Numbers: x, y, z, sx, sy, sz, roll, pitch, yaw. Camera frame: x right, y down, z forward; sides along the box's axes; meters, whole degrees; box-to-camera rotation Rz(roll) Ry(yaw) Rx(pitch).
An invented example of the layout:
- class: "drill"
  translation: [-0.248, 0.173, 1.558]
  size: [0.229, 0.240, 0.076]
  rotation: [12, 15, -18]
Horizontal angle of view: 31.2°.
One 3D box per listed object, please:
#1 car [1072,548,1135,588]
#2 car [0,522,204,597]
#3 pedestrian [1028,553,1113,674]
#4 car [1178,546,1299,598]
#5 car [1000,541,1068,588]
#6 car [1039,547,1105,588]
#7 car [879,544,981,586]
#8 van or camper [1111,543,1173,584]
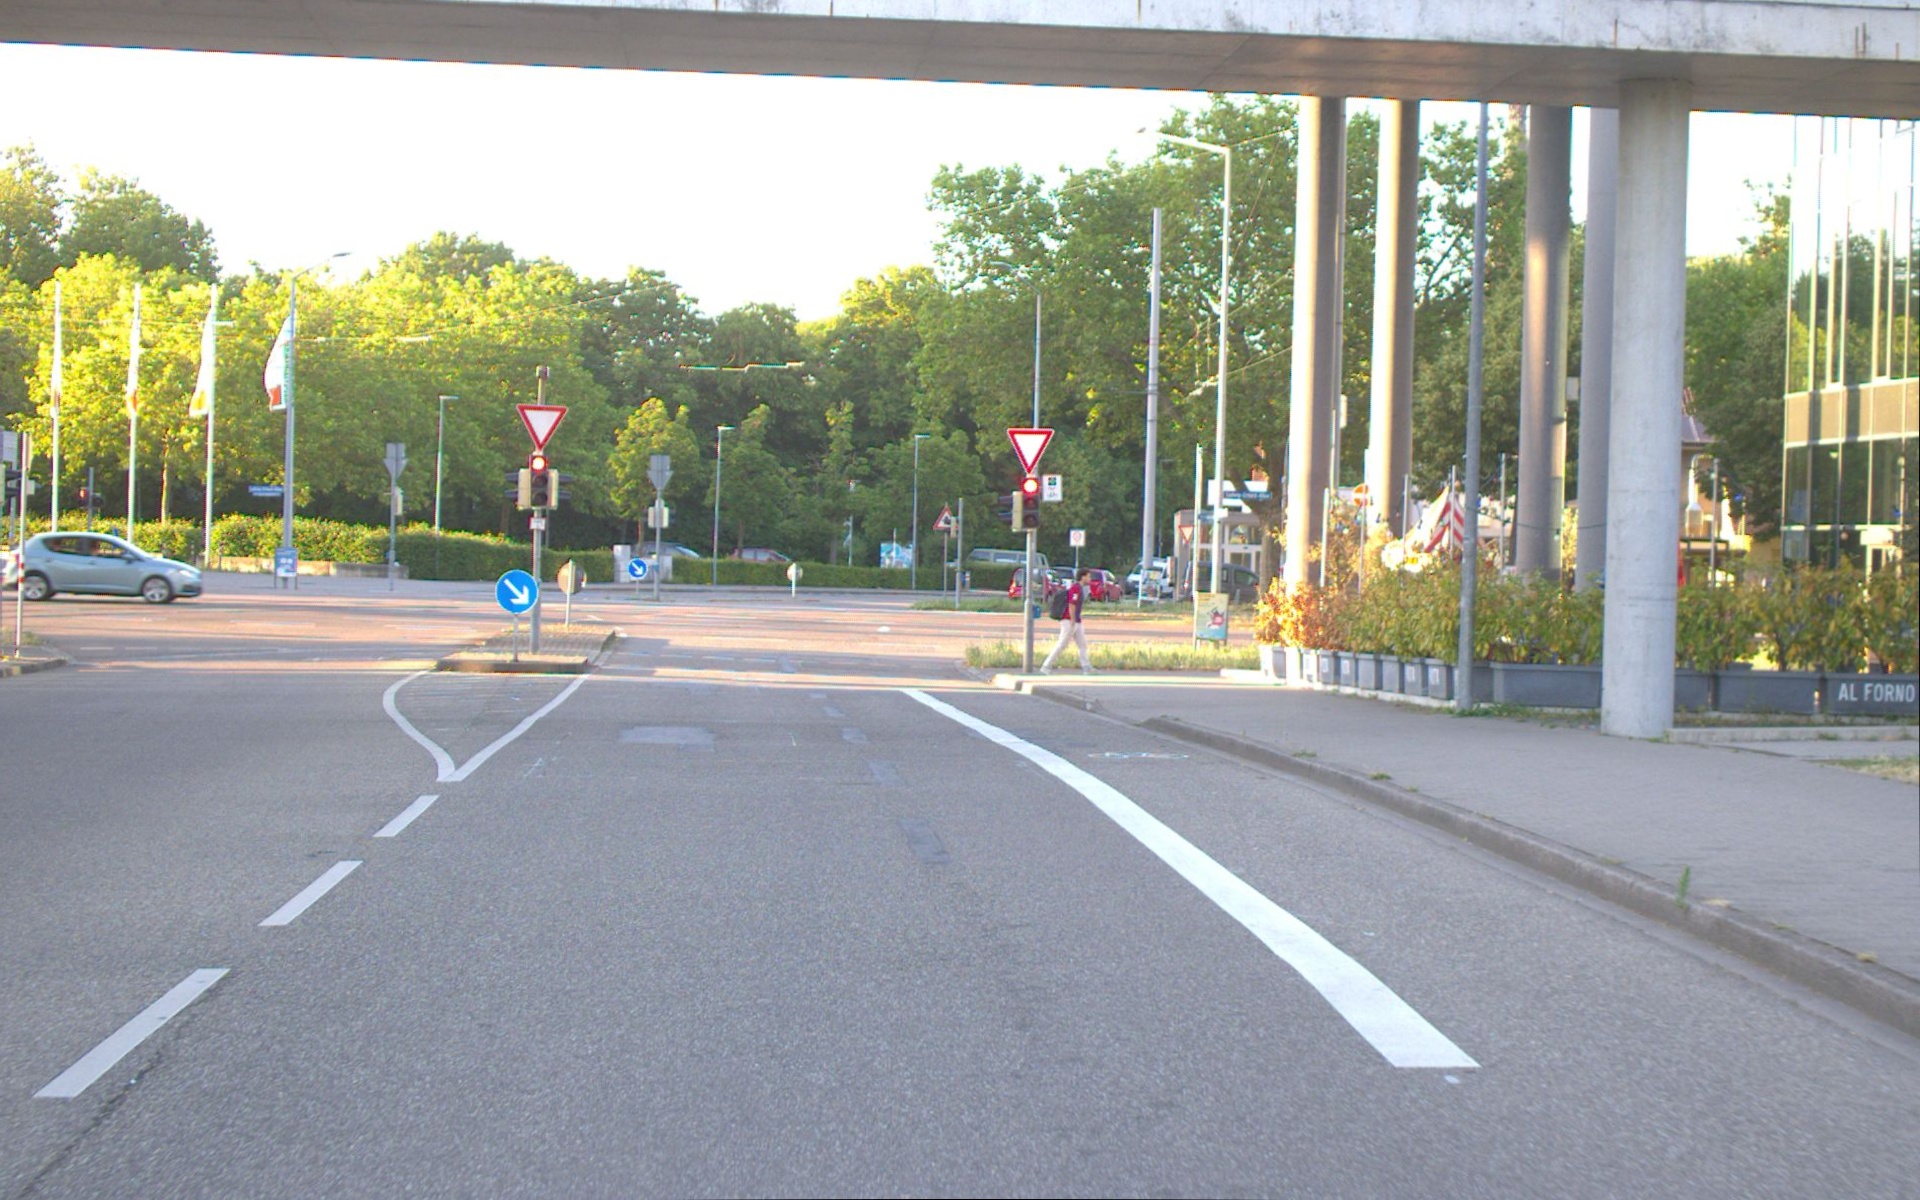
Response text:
- class: "car"
  translation: [6.030, -1.353, 144.378]
  size: [1.499, 1.600, 3.399]
  rotation: [2, 2, 23]
- class: "car"
  translation: [-17.801, -0.835, 71.131]
  size: [4.022, 1.414, 1.603]
  rotation: [1, 2, -5]
- class: "pedestrian"
  translation: [1.712, 0.201, 53.463]
  size: [1.053, 1.827, 0.895]
  rotation: [1, 2, -16]
- class: "car"
  translation: [10.529, -1.075, 130.126]
  size: [4.467, 1.810, 1.945]
  rotation: [2, 2, 3]
- class: "car"
  translation: [2.945, -1.425, 136.357]
  size: [1.499, 1.754, 3.399]
  rotation: [2, 2, 23]
- class: "car"
  translation: [4.584, -1.332, 140.573]
  size: [1.499, 1.600, 3.399]
  rotation: [2, 2, 23]
- class: "car"
  translation: [-1.428, -1.672, 163.299]
  size: [4.685, 1.862, 2.013]
  rotation: [2, 2, 4]
- class: "van or camper"
  translation: [9.139, -1.851, 172.369]
  size: [1.627, 1.975, 3.801]
  rotation: [2, 2, 27]
